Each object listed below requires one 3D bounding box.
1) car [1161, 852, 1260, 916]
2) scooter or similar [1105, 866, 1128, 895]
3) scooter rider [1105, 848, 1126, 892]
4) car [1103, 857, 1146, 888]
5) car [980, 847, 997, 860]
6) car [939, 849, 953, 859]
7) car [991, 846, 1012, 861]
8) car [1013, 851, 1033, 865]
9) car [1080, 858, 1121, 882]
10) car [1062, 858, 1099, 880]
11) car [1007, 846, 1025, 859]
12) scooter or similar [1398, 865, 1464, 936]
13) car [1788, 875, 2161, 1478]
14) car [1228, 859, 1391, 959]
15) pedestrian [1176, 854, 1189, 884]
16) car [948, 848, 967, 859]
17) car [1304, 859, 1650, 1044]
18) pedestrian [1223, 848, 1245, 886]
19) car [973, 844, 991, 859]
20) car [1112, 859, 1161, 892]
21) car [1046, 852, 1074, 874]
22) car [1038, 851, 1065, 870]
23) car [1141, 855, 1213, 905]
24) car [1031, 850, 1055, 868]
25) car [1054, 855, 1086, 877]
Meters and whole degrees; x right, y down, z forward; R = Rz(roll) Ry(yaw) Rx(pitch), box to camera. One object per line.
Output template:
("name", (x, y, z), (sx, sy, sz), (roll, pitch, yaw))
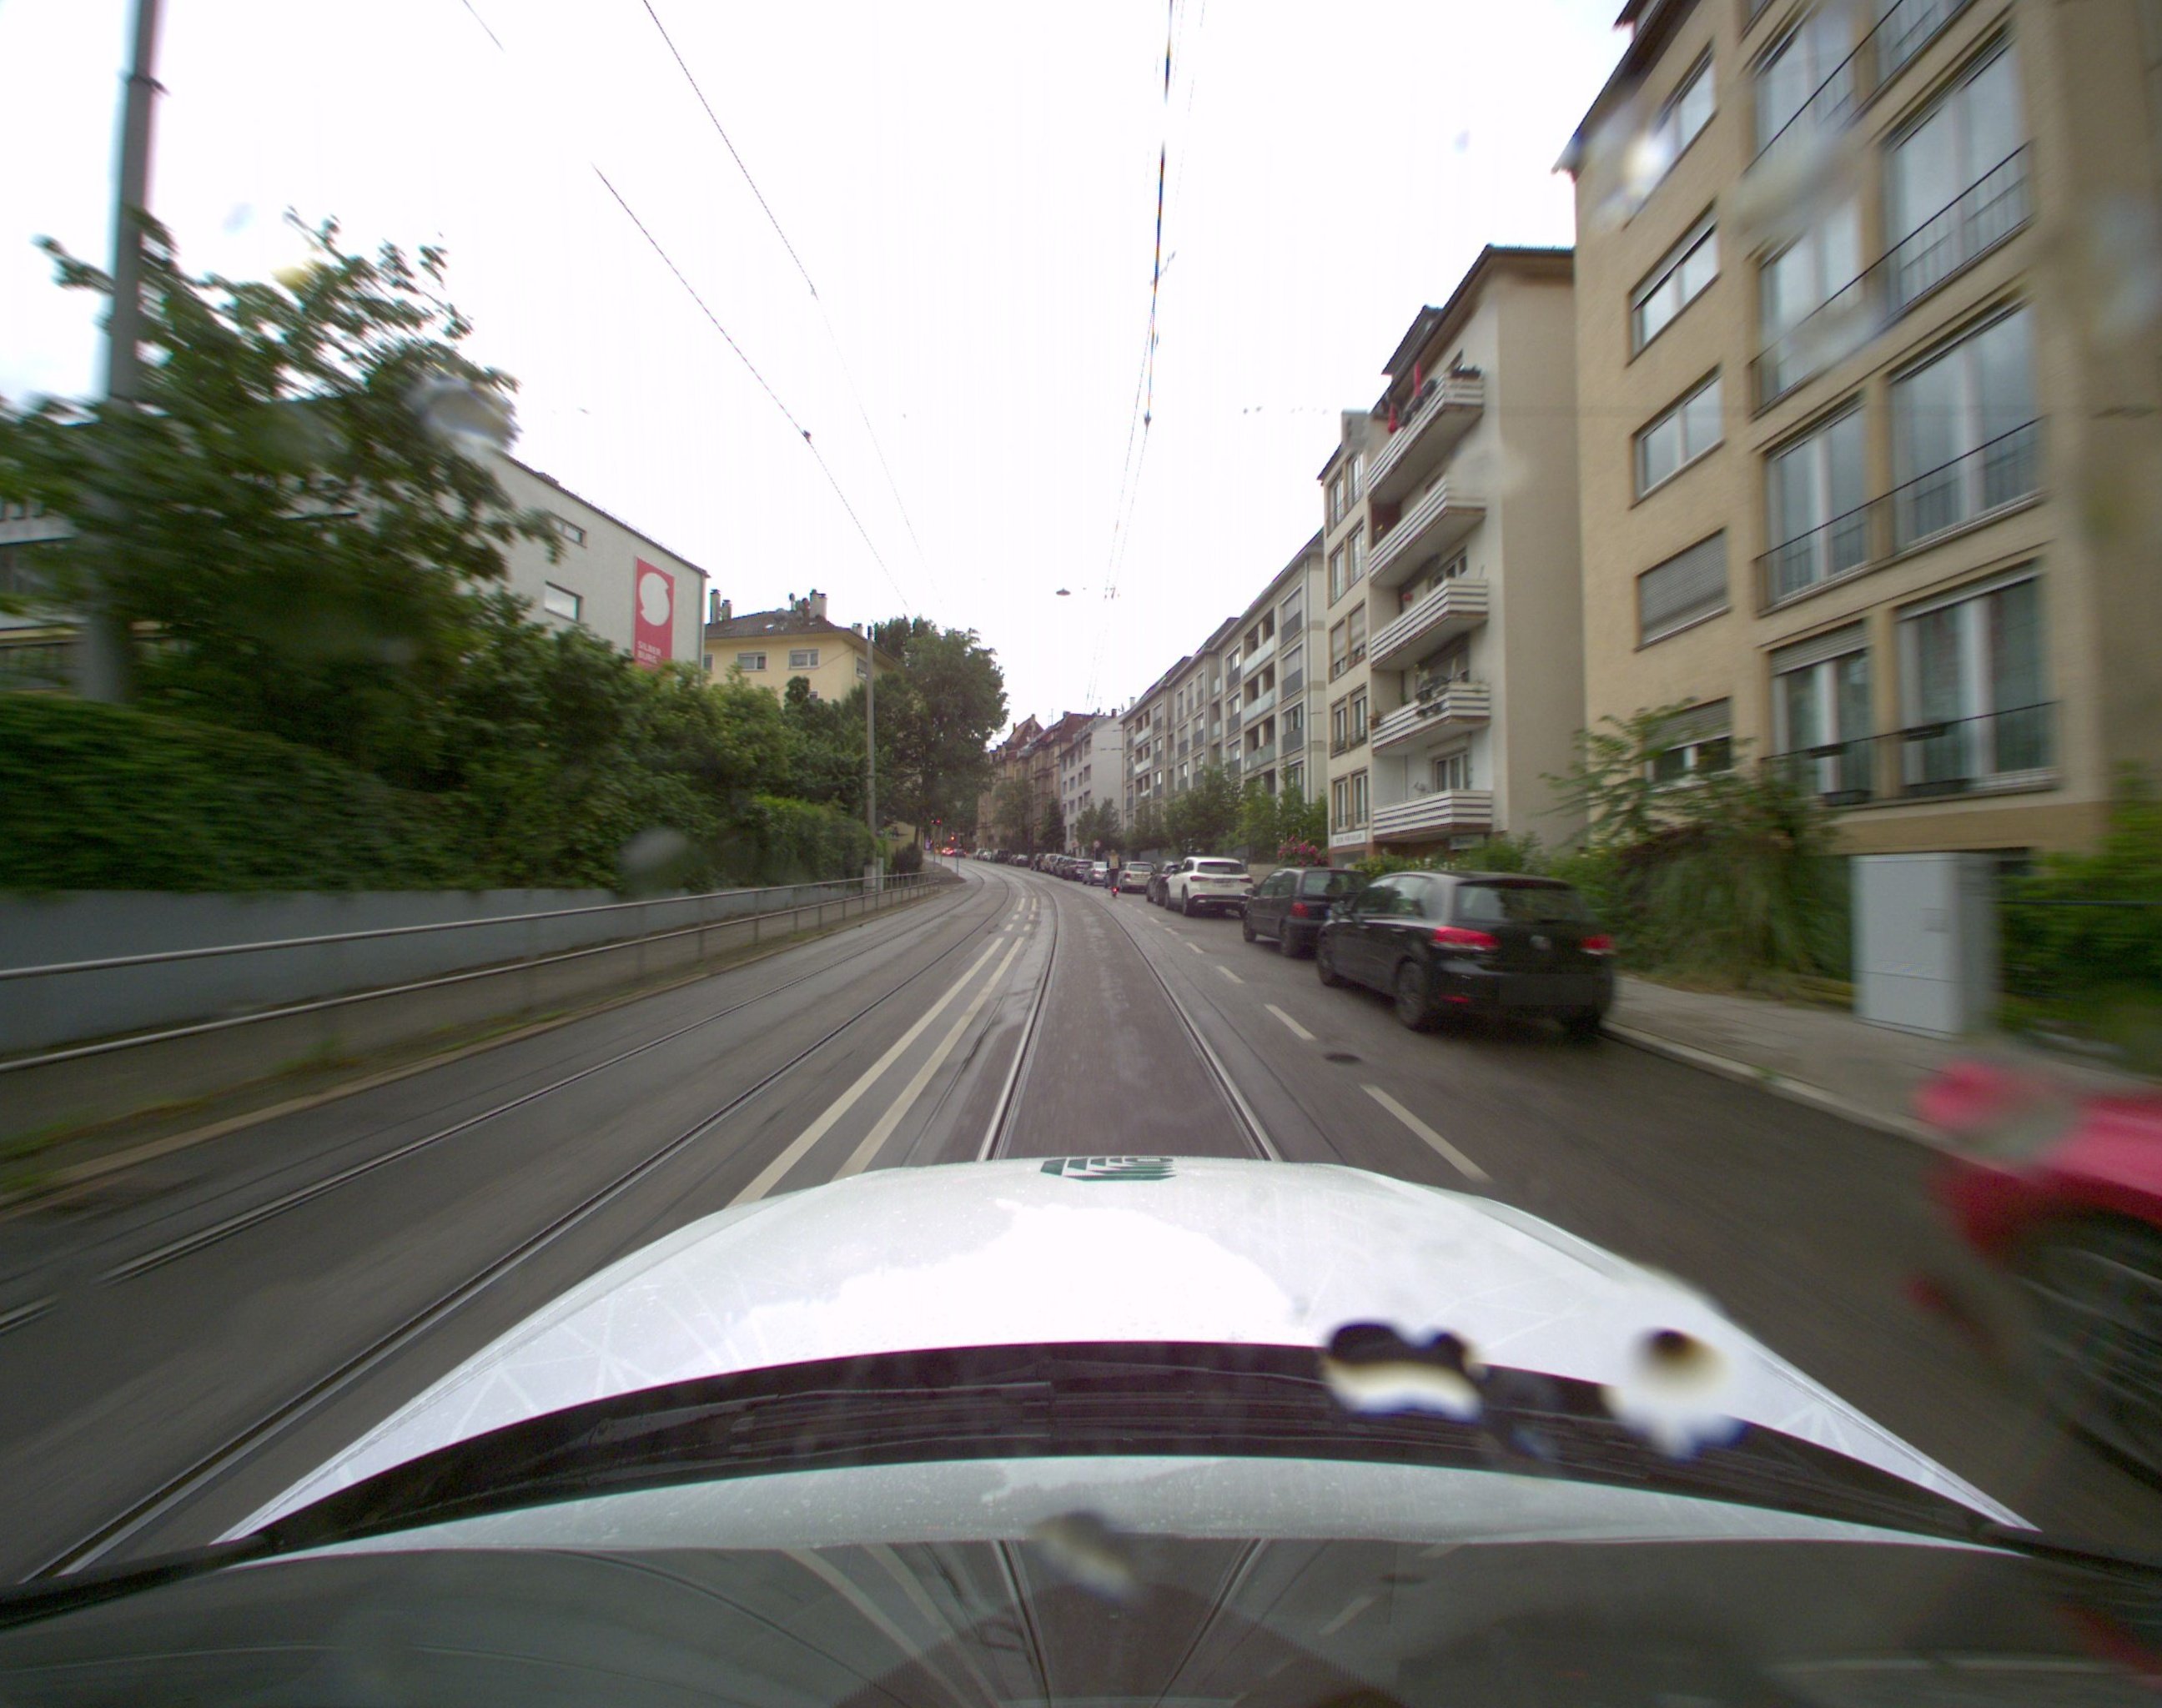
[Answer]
("car", (3.582, 0.784, 23.243), (1.834, 1.573, 4.242), (2, 0, -4))
("scooter or similar", (1.396, 1.027, 32.384), (0.513, 1.049, 2.004), (3, 0, -7))
("scooter rider", (1.358, 0.632, 32.369), (0.622, 1.705, 0.842), (3, 0, -7))
("car", (2.301, 0.968, 43.983), (1.700, 1.512, 3.705), (2, 0, -7))
("car", (-13.774, -0.094, 121.182), (2.030, 1.824, 4.120), (2, 0, -14))
("car", (-23.992, -0.037, 144.780), (1.862, 1.734, 4.113), (2, 0, -19))
("car", (-10.740, -0.093, 110.377), (2.032, 1.824, 4.344), (2, 0, -16))
("car", (-6.822, 0.439, 96.245), (1.768, 1.518, 4.122), (2, 0, -12))
("car", (1.189, 0.962, 51.054), (1.761, 1.435, 4.625), (0, 0, -9))
("car", (-0.093, 1.095, 60.717), (1.770, 1.615, 4.226), (0, 0, -15))
("car", (-8.066, -0.210, 101.056), (1.652, 1.536, 3.871), (-2, 1, -14))
("scooter or similar", (6.550, 0.849, 15.283), (0.470, 1.234, 1.192), (-2, 1, -17))
("car", (3.468, 0.821, 1.152), (1.715, 1.437, 3.843), (1, 0, 2))
("car", (3.859, 0.853, 14.528), (1.552, 1.437, 4.300), (1, 0, -2))
("pedestrian", (5.432, 0.795, 43.686), (0.568, 1.542, 0.650), (-2, 0, -3))
("car", (-21.098, -0.057, 139.427), (2.039, 1.734, 4.104), (2, 0, -27))
("car", (3.782, 0.810, 8.650), (1.678, 1.437, 4.063), (1, 0, 0))
("pedestrian", (6.334, 0.515, 33.793), (0.569, 1.542, 0.926), (-2, 0, -11))
("car", (-15.341, -0.351, 126.298), (2.032, 2.218, 4.117), (2, 0, -16))
("car", (2.614, 1.020, 39.396), (1.659, 1.471, 4.499), (2, -1, -5))
("car", (-1.872, 0.765, 72.245), (1.767, 1.787, 4.233), (2, 0, -11))
("car", (-2.837, 0.593, 78.017), (1.768, 1.684, 4.229), (2, 0, -13))
("car", (3.250, 0.832, 28.315), (1.697, 1.512, 4.566), (3, 0, -3))
("car", (-3.888, 0.500, 82.822), (1.768, 1.684, 4.231), (2, 0, -12))
("car", (-0.961, 0.953, 66.773), (1.768, 1.615, 4.230), (2, 0, -13))
